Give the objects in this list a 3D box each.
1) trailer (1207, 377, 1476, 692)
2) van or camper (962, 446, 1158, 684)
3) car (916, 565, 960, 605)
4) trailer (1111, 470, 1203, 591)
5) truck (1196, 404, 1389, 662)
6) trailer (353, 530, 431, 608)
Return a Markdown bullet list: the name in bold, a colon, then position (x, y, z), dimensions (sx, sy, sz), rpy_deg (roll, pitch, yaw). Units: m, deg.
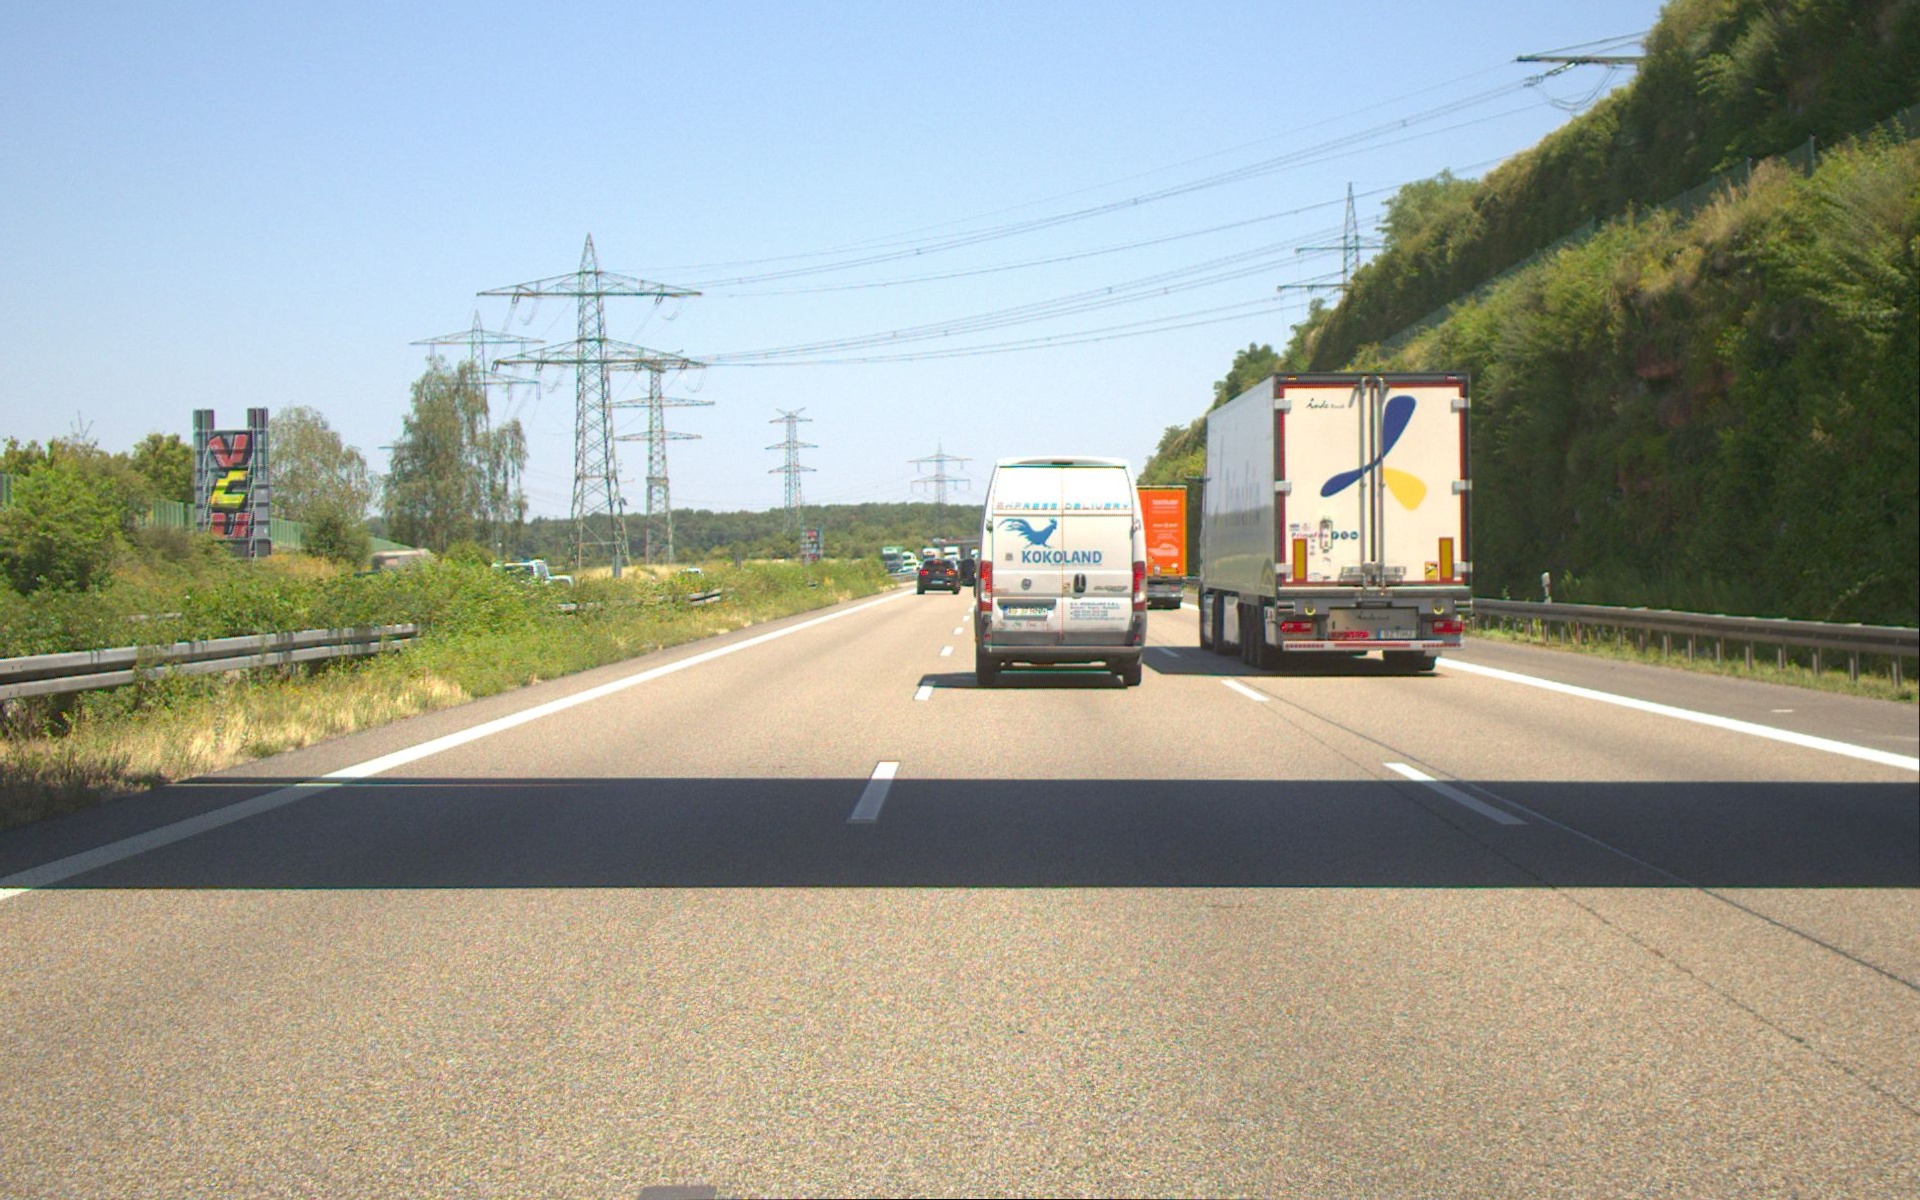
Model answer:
- **trailer**: position (5.415, -0.956, 50.952), dimensions (2.637, 4.046, 12.366), rpy_deg (1, 1, 1)
- **van or camper**: position (1.181, -0.457, 43.328), dimensions (2.230, 2.772, 5.423), rpy_deg (1, 1, 0)
- **car**: position (-1.052, -0.736, 166.303), dimensions (1.982, 1.811, 3.812), rpy_deg (1, 1, 2)
- **trailer**: position (6.533, -2.304, 114.786), dimensions (2.637, 3.883, 7.069), rpy_deg (1, 1, 1)
- **truck**: position (5.470, -1.107, 57.432), dimensions (2.637, 4.046, 5.800), rpy_deg (1, 1, 1)
- **trailer**: position (-19.740, -1.091, 119.604), dimensions (1.800, 2.609, 4.407), rpy_deg (1, 1, 2)
